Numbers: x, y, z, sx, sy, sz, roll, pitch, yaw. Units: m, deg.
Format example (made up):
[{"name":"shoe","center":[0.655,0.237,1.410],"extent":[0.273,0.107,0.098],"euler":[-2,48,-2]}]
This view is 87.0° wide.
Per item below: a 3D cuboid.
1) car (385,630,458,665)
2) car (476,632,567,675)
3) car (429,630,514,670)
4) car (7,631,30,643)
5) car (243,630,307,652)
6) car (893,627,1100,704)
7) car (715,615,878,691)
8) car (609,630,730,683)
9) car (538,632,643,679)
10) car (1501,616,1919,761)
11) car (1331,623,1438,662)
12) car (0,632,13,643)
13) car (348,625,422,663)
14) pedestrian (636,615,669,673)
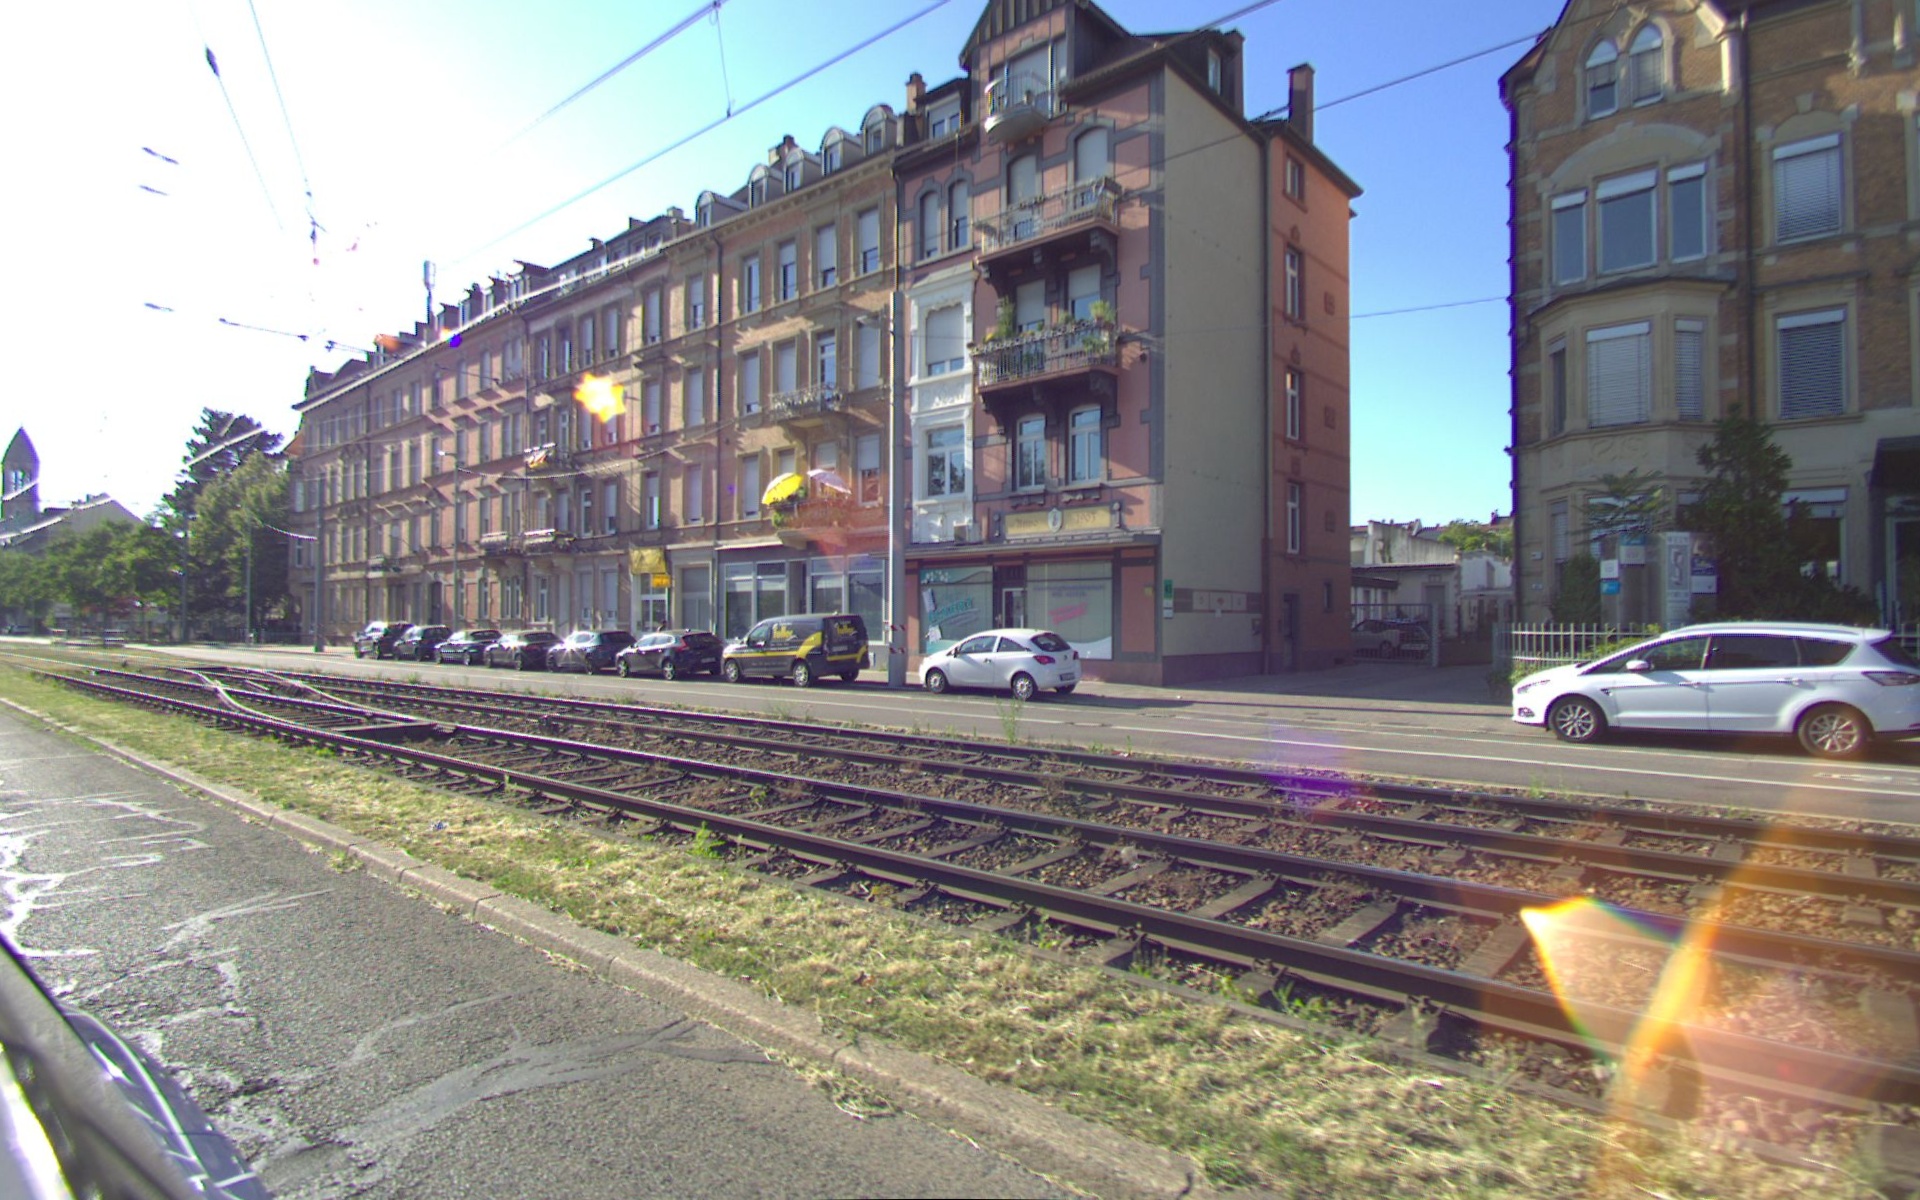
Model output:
[{"name":"car","center":[-23.907,2.073,44.883],"extent":[3.764,1.457,1.642],"euler":[-1,0,42]},{"name":"car","center":[-16.517,1.967,38.046],"extent":[3.979,1.457,1.642],"euler":[-1,0,42]},{"name":"car","center":[-19.912,1.996,41.194],"extent":[4.195,1.457,1.642],"euler":[-1,0,42]},{"name":"car","center":[-126.597,4.945,136.097],"extent":[3.996,1.522,1.776],"euler":[-1,-3,40]},{"name":"car","center":[-53.830,3.206,79.588],"extent":[3.931,1.521,1.806],"euler":[-1,0,-27]},{"name":"car","center":[0.751,1.407,23.206],"extent":[4.626,1.550,1.900],"euler":[-1,-1,42]},{"name":"car","center":[-4.454,1.357,27.132],"extent":[4.725,1.821,1.643],"euler":[-1,0,40]},{"name":"car","center":[-8.872,1.664,30.741],"extent":[3.979,1.457,1.642],"euler":[-1,0,42]},{"name":"car","center":[-12.598,1.843,34.398],"extent":[3.979,1.457,1.642],"euler":[-1,0,42]},{"name":"car","center":[10.419,1.106,14.229],"extent":[4.626,1.696,1.900],"euler":[-2,-1,42]},{"name":"car","center":[17.353,1.732,41.572],"extent":[1.769,1.522,4.013],"euler":[1,-2,-21]},{"name":"car","center":[-134.452,5.241,142.037],"extent":[3.996,1.522,1.776],"euler":[-1,-3,40]},{"name":"car","center":[-27.161,2.031,47.734],"extent":[4.631,1.655,1.774],"euler":[-1,0,44]},{"name":"pedestrian","center":[-10.802,1.540,35.561],"extent":[0.868,2.029,0.634],"euler":[-1,0,12]}]
